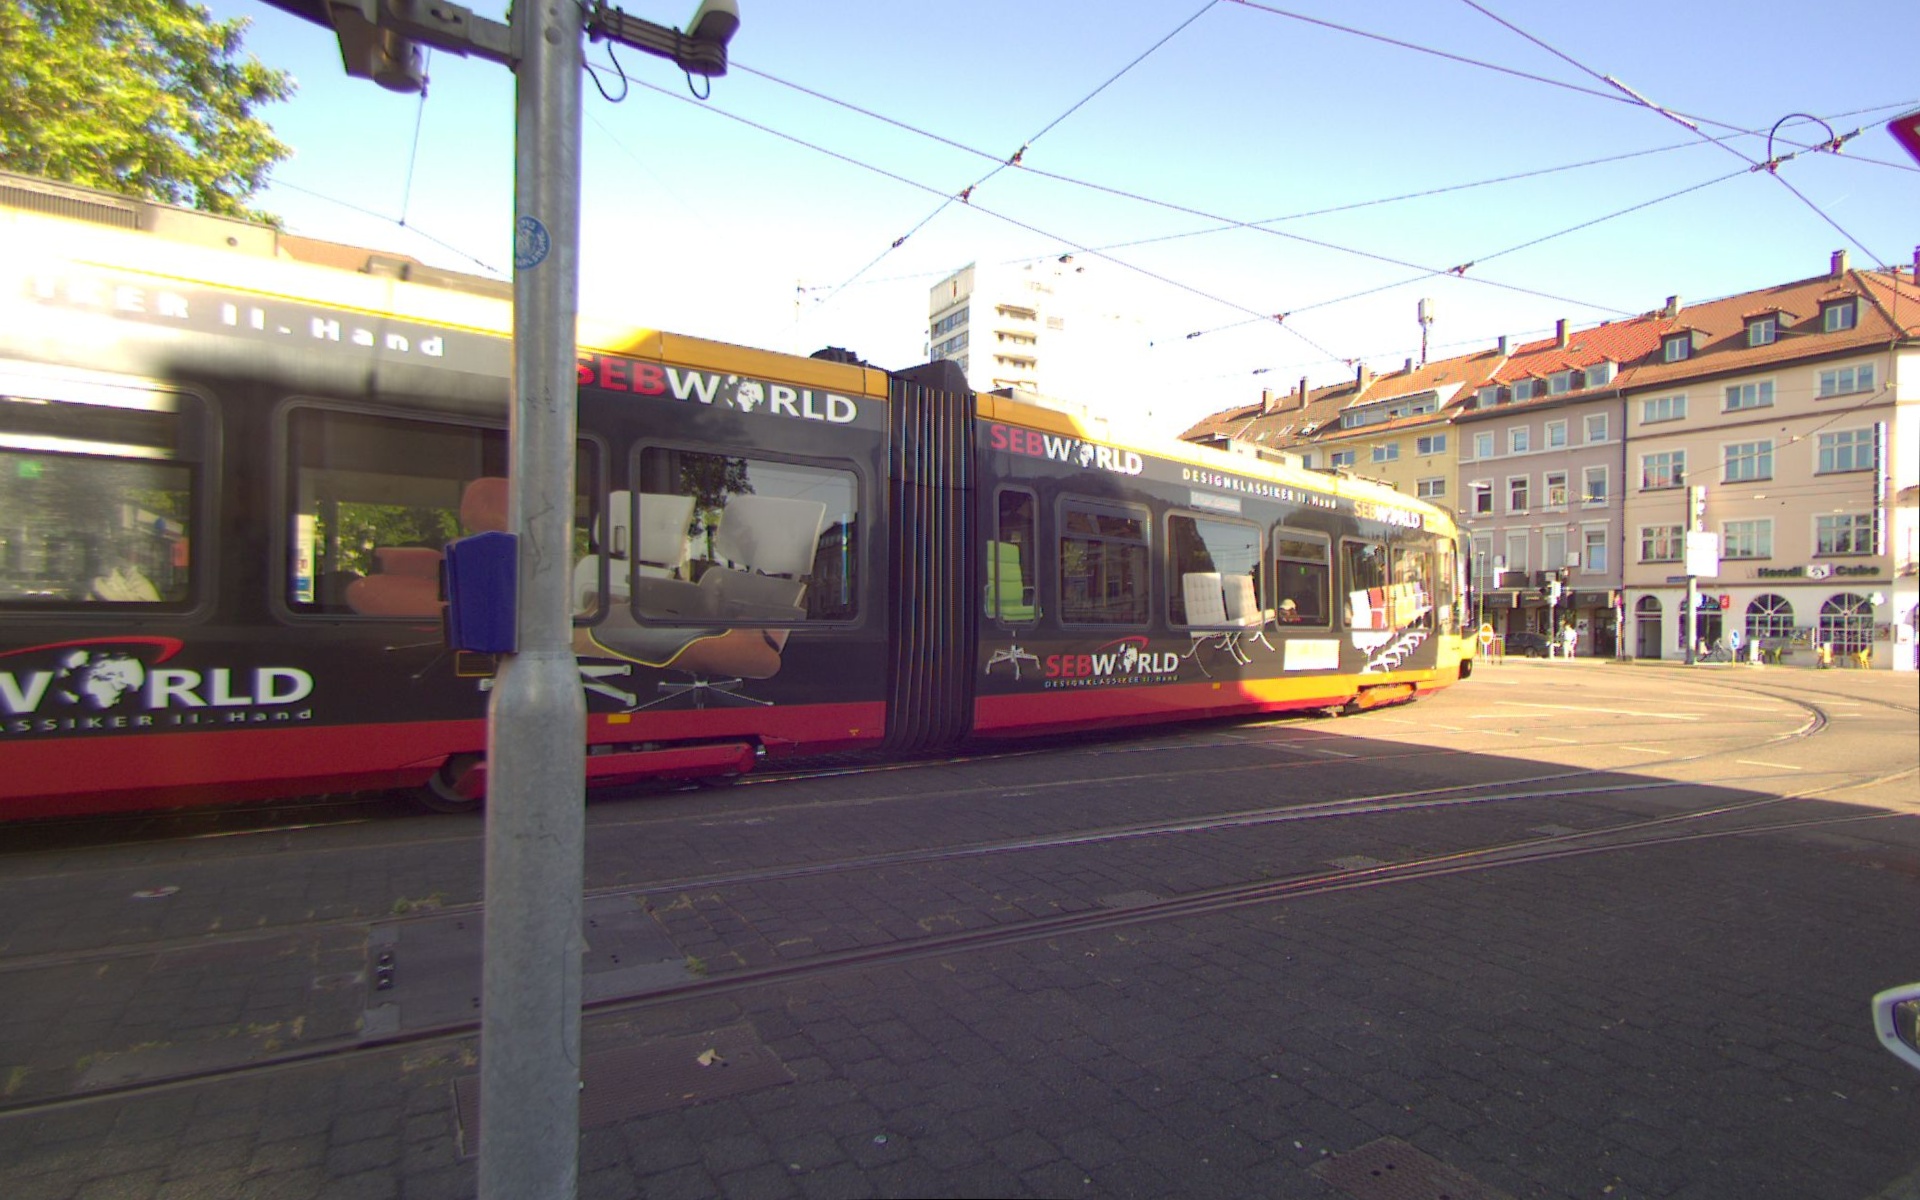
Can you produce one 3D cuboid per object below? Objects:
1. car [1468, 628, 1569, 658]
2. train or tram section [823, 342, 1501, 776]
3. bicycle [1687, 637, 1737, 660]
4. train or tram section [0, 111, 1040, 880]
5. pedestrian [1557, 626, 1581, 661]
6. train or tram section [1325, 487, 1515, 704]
[{"bbox_3d":[30.561,2.334,55.084,1.725,1.459,4.614,2,-1,-32],"label":"car"},{"bbox_3d":[3.864,-0.210,13.834,3.024,3.661,12.037,0,-1,45],"label":"train or tram section"},{"bbox_3d":[37.584,2.403,50.217,0.578,1.081,1.929,1,-1,-36],"label":"bicycle"},{"bbox_3d":[-5.010,-0.477,6.332,11.832,3.661,3.035,2,-1,-36],"label":"train or tram section"},{"bbox_3d":[28.999,2.063,47.849,0.661,1.648,0.724,1,-1,-20],"label":"pedestrian"},{"bbox_3d":[10.812,0.055,22.962,3.009,3.661,12.098,0,-1,28],"label":"train or tram section"}]
